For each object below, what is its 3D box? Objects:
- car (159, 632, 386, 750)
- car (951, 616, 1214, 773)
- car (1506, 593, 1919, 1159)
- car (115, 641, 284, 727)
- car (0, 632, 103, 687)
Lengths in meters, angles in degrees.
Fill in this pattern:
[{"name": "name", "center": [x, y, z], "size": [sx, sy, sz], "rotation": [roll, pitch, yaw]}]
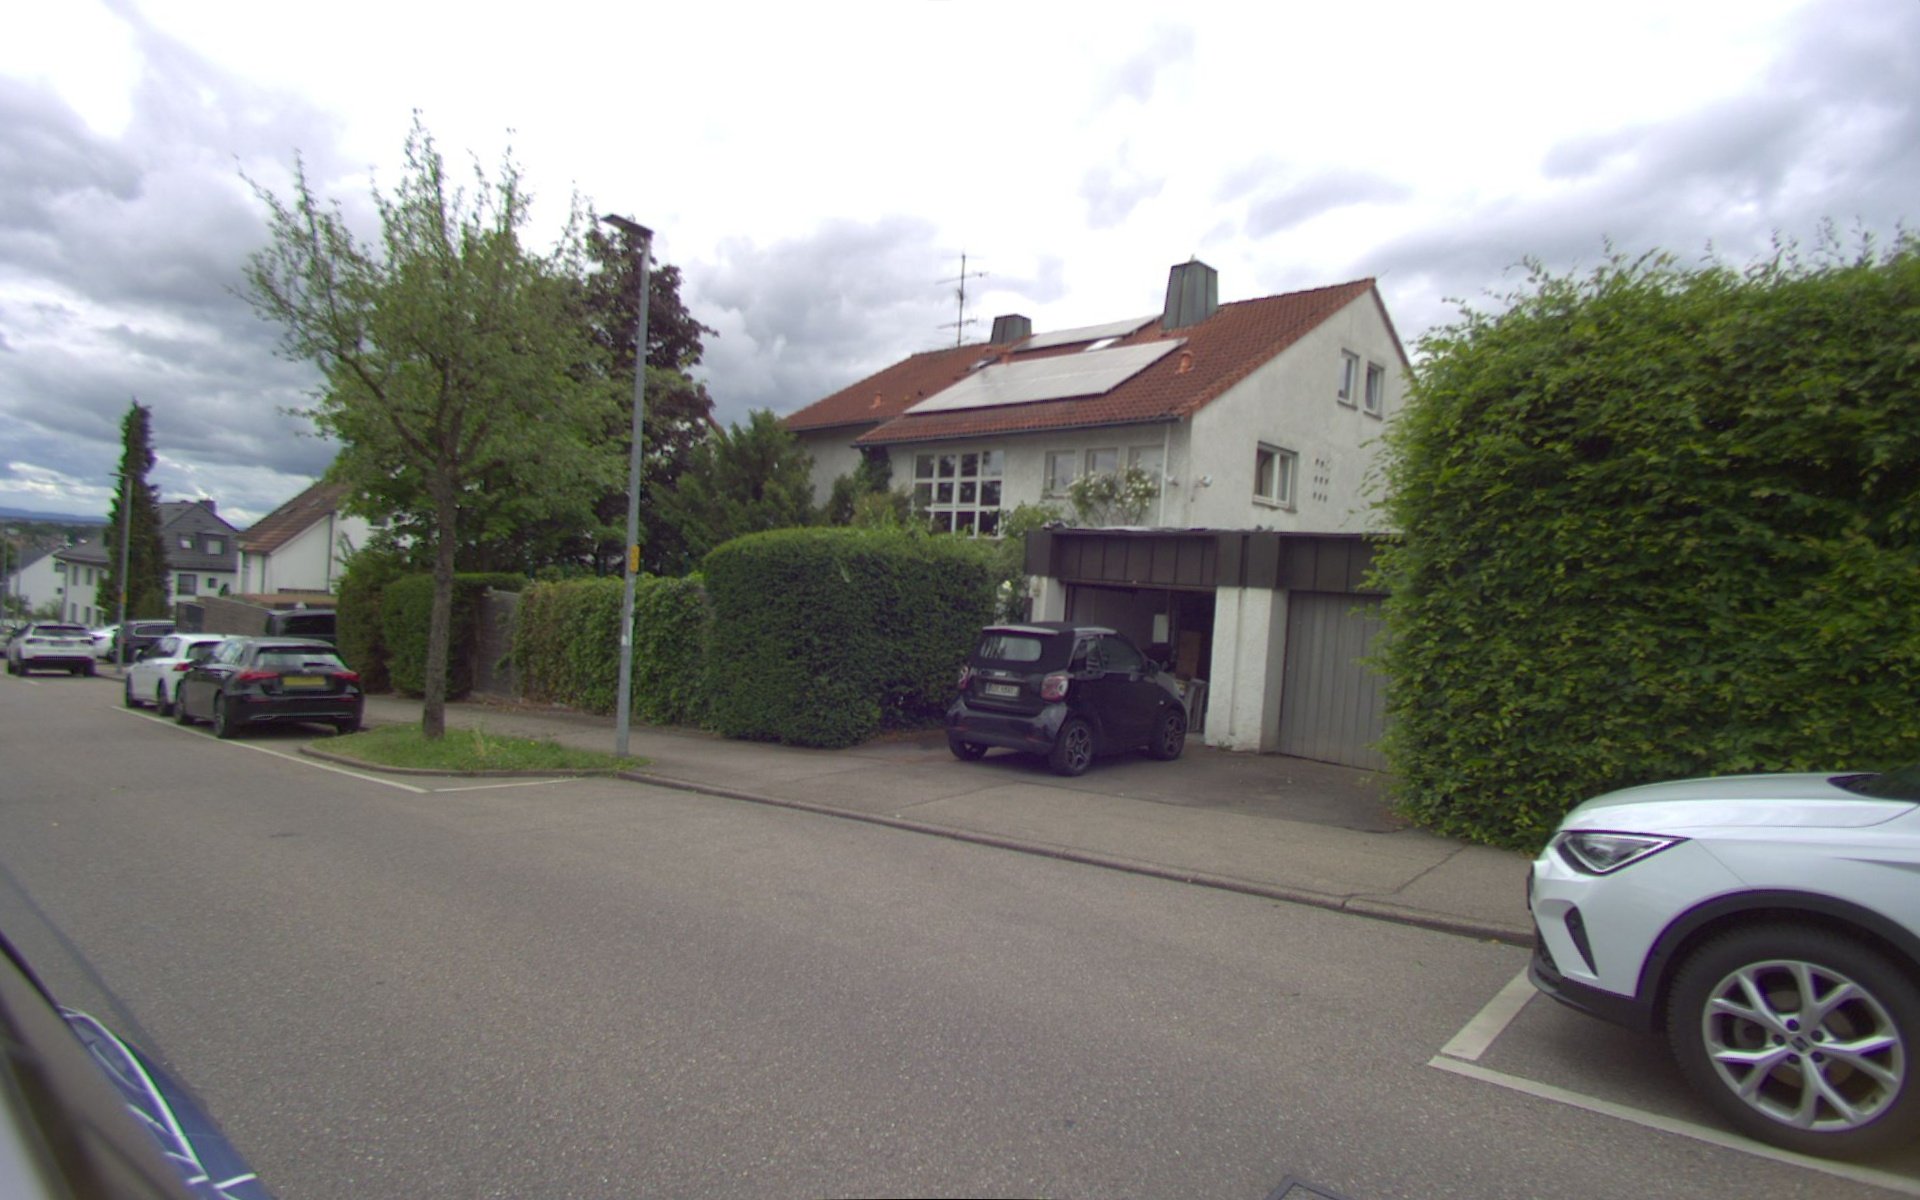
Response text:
[{"name": "car", "center": [-10.688, 1.298, 15.649], "size": [4.004, 1.561, 1.919], "rotation": [-1, -3, 41]}, {"name": "car", "center": [1.442, 0.967, 11.352], "size": [2.848, 1.517, 1.500], "rotation": [3, -3, -45]}, {"name": "car", "center": [4.055, 0.751, 2.635], "size": [4.340, 1.501, 1.866], "rotation": [-1, -3, 41]}, {"name": "car", "center": [-14.254, 1.486, 18.900], "size": [3.998, 1.386, 1.703], "rotation": [-1, -3, 41]}, {"name": "car", "center": [-27.948, 1.793, 31.054], "size": [3.998, 1.542, 1.910], "rotation": [-1, -3, 42]}]
